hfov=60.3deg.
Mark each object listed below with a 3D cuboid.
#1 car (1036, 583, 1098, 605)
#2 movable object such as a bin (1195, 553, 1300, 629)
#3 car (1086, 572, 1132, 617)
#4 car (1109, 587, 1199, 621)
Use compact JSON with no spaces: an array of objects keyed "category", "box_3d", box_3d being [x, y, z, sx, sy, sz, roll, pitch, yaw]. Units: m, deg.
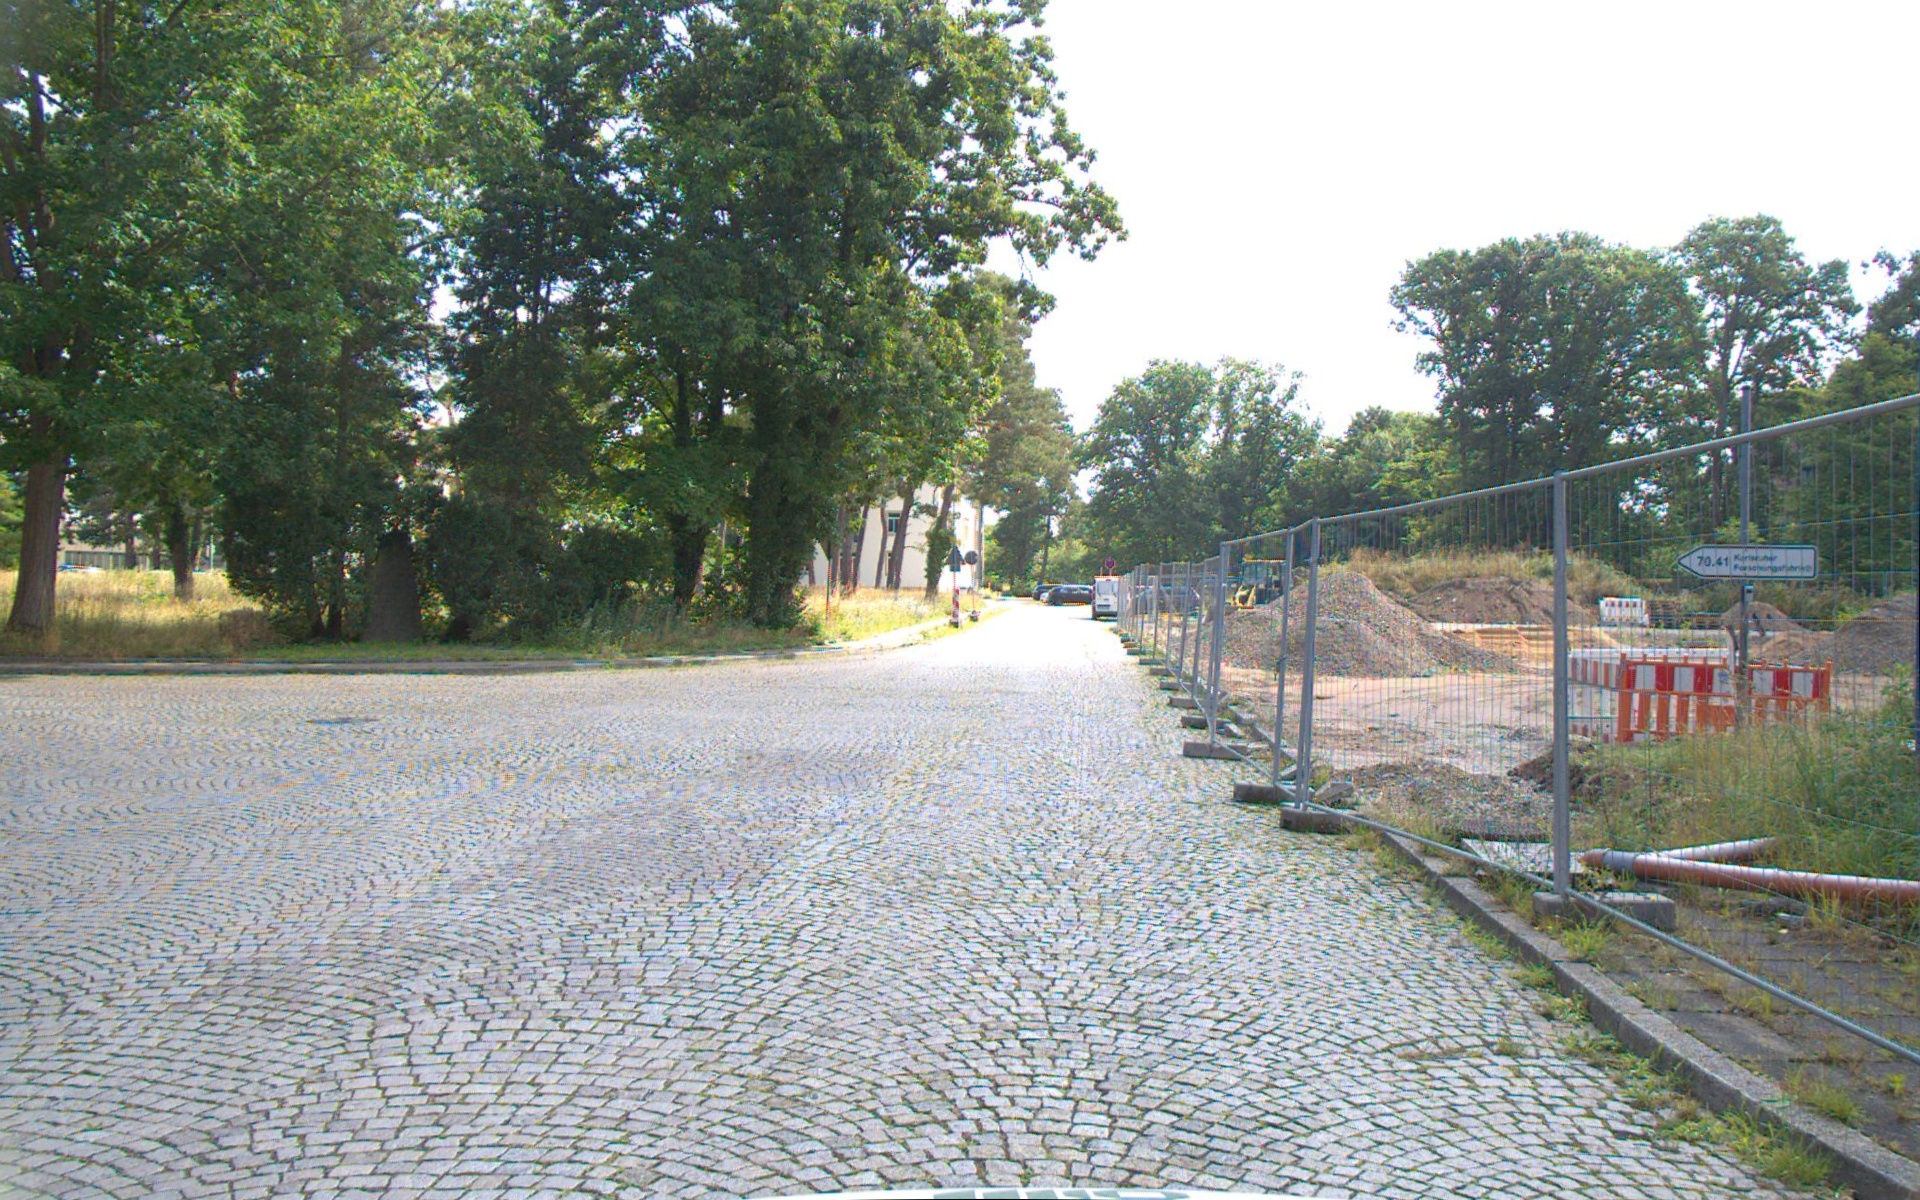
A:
[{"category":"car","box_3d":[8.370,-0.462,129.366,4.683,1.669,1.999,1,0,-2]},{"category":"movable object such as a bin","box_3d":[10.526,-0.339,60.225,2.090,2.638,4.778,1,1,32]},{"category":"car","box_3d":[6.981,-0.263,77.750,1.952,2.049,4.092,1,0,2]},{"category":"car","box_3d":[9.821,0.181,83.517,4.309,1.536,2.002,2,0,11]}]
